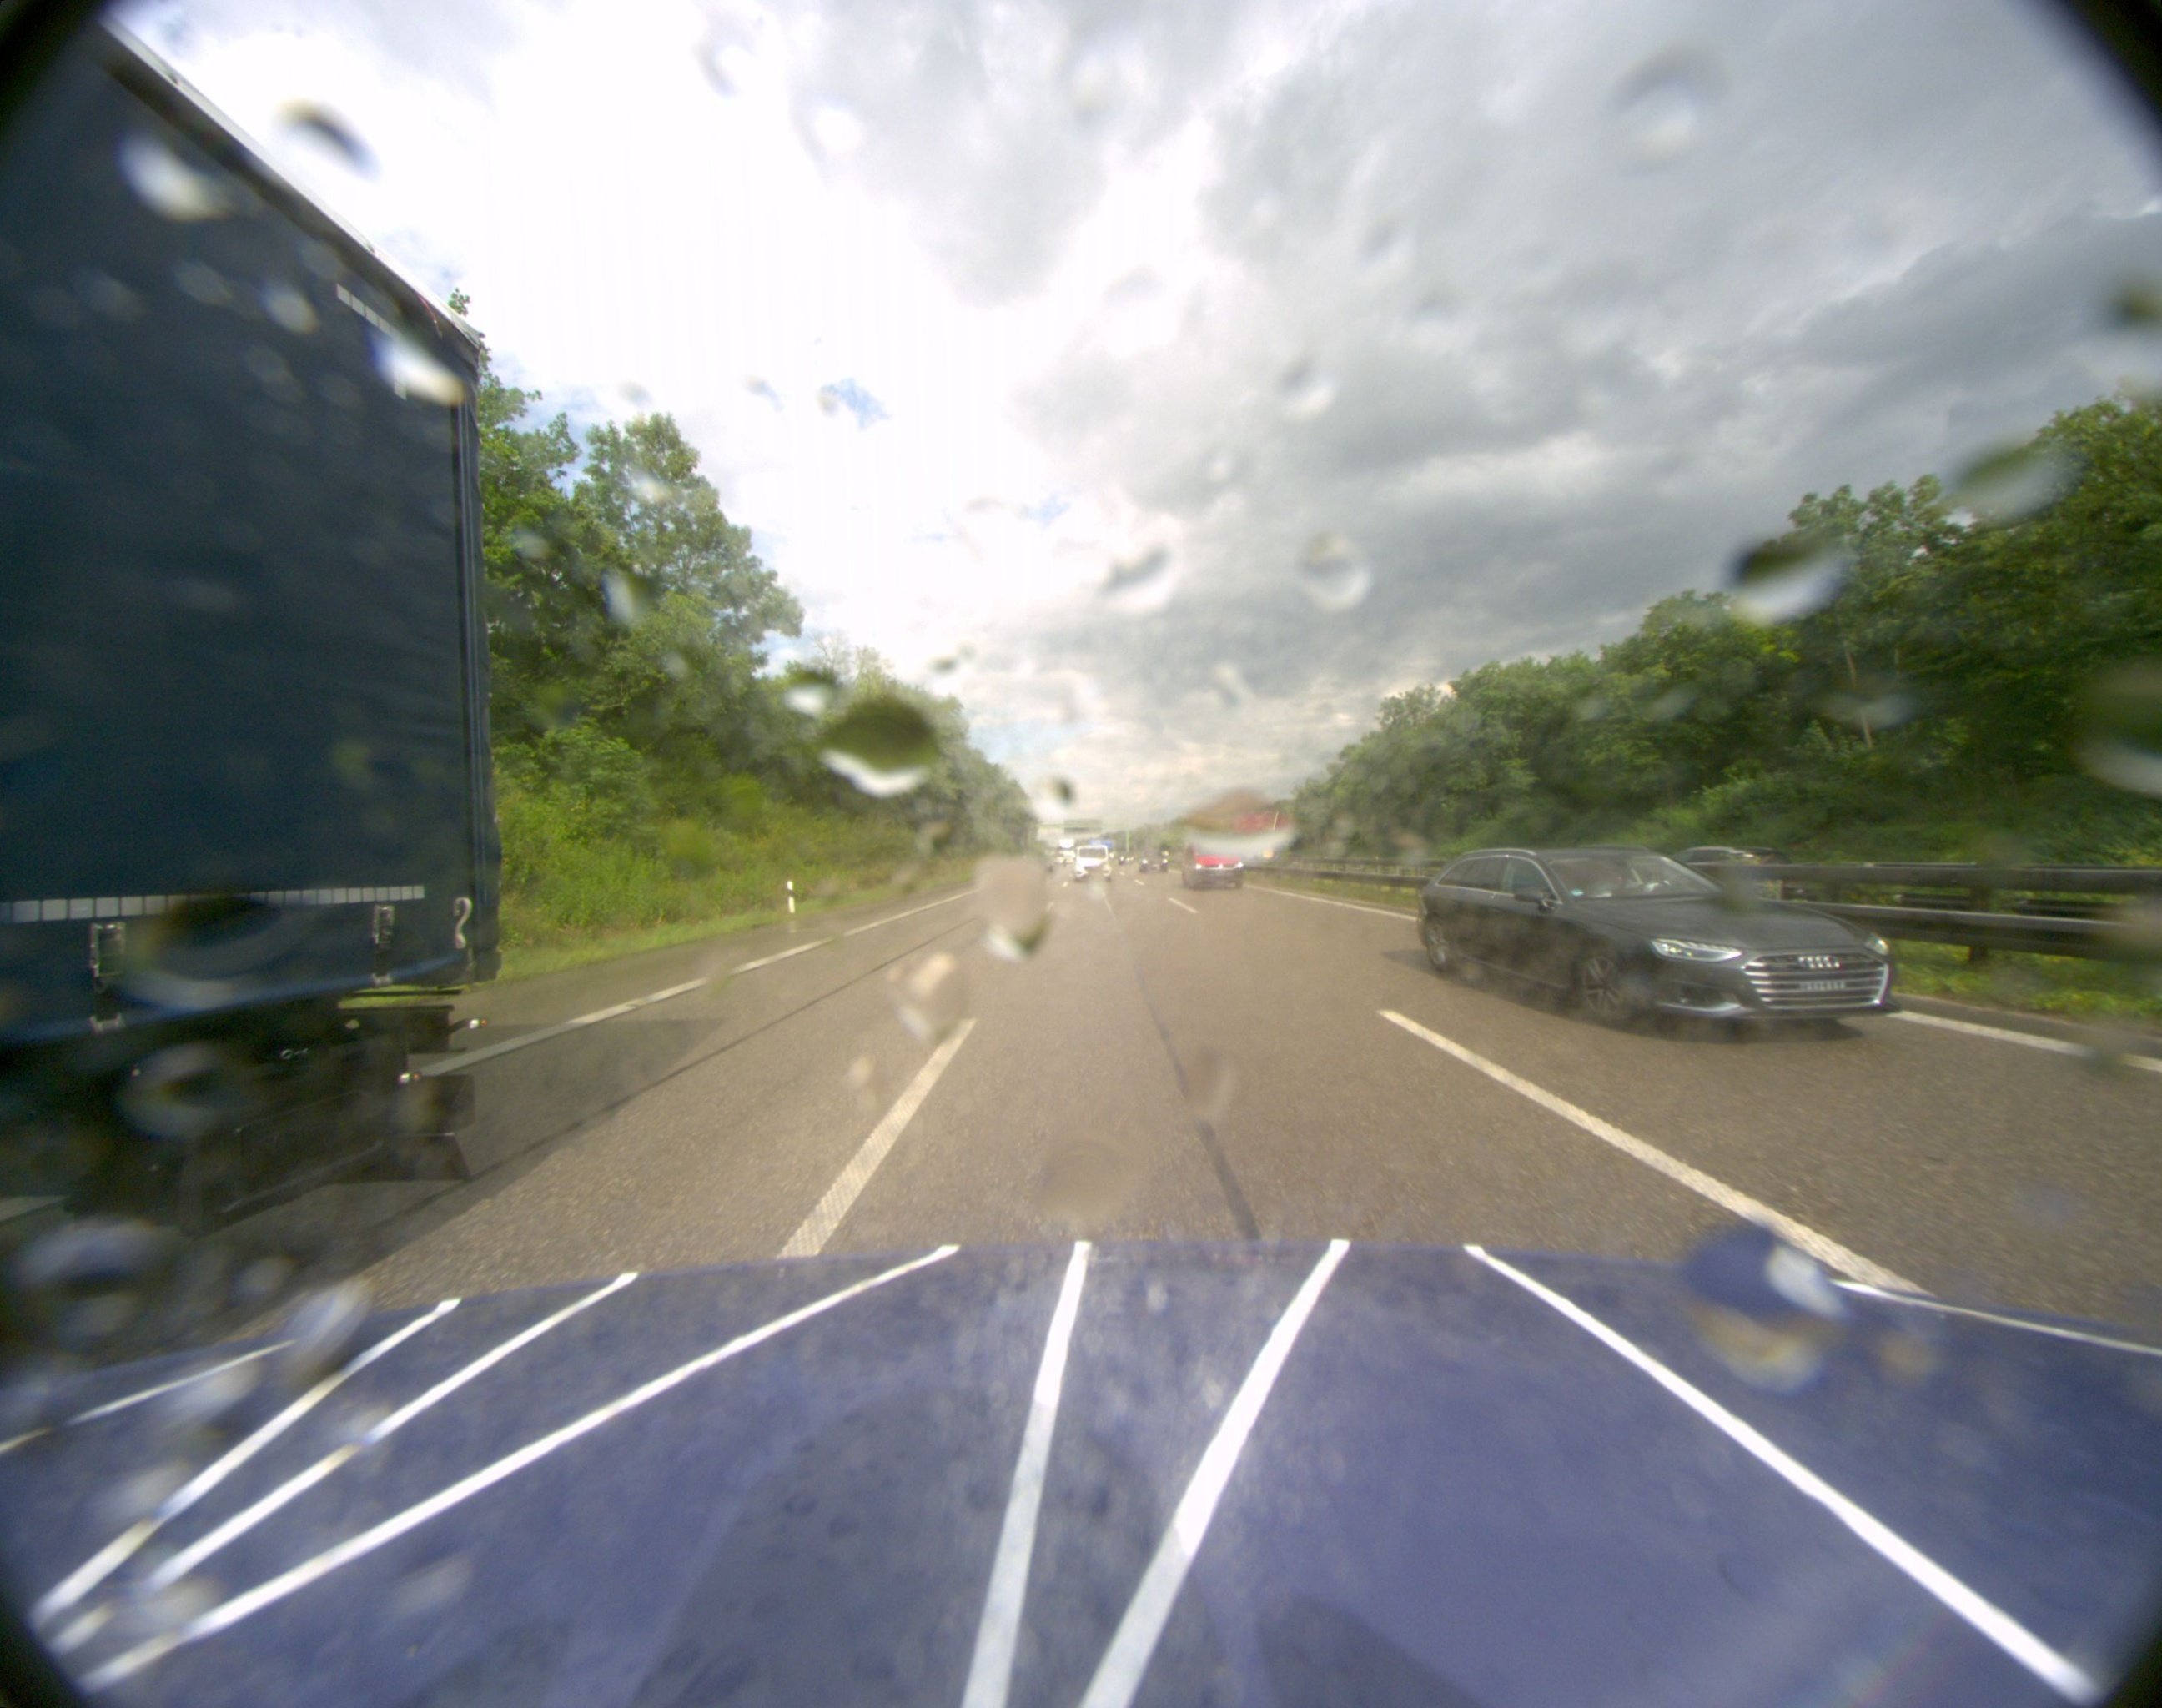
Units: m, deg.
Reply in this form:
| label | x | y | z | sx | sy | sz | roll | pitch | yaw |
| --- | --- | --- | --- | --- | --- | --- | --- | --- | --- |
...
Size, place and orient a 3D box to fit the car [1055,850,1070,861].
| label | x | y | z | sx | sy | sz | roll | pitch | yaw |
| --- | --- | --- | --- | --- | --- | --- | --- | --- | --- |
| car | -2.449 | 0.158 | 102.973 | 1.798 | 1.410 | 4.839 | -2 | 1 | 1 |

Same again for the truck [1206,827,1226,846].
| label | x | y | z | sx | sy | sz | roll | pitch | yaw |
| --- | --- | --- | --- | --- | --- | --- | --- | --- | --- |
| truck | 36.110 | -4.554 | 203.441 | 3.622 | 4.693 | 11.874 | -2 | 1 | 2 |

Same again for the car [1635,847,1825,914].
| label | x | y | z | sx | sy | sz | roll | pitch | yaw |
| --- | --- | --- | --- | --- | --- | --- | --- | --- | --- |
| car | 18.500 | 0.669 | 21.954 | 1.859 | 1.653 | 4.235 | -2 | 1 | 0 |

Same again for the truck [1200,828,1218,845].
| label | x | y | z | sx | sy | sz | roll | pitch | yaw |
| --- | --- | --- | --- | --- | --- | --- | --- | --- | --- |
| truck | 37.227 | -5.063 | 221.478 | 3.622 | 4.693 | 11.874 | -2 | 1 | 2 |

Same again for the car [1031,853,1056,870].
| label | x | y | z | sx | sy | sz | roll | pitch | yaw |
| --- | --- | --- | --- | --- | --- | --- | --- | --- | --- |
| car | -3.393 | 0.655 | 69.270 | 1.798 | 1.410 | 4.839 | -2 | 1 | 1 |

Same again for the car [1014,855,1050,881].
| label | x | y | z | sx | sy | sz | roll | pitch | yaw |
| --- | --- | --- | --- | --- | --- | --- | --- | --- | --- |
| car | -2.992 | 0.834 | 47.314 | 1.798 | 1.410 | 4.839 | -2 | 1 | 1 |

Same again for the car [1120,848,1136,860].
| label | x | y | z | sx | sy | sz | roll | pitch | yaw |
| --- | --- | --- | --- | --- | --- | --- | --- | --- | --- |
| car | 5.887 | -0.008 | 96.000 | 1.798 | 1.410 | 4.839 | -2 | 1 | 1 |

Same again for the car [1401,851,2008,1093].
| label | x | y | z | sx | sy | sz | roll | pitch | yaw |
| --- | --- | --- | --- | --- | --- | --- | --- | --- | --- |
| car | 4.891 | 0.729 | 7.140 | 1.798 | 1.410 | 4.839 | -2 | 1 | 1 |

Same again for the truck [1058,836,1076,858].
| label | x | y | z | sx | sy | sz | roll | pitch | yaw |
| --- | --- | --- | --- | --- | --- | --- | --- | --- | --- |
| truck | -2.441 | -1.181 | 135.613 | 3.064 | 3.827 | 8.799 | -1 | 0 | 0 |

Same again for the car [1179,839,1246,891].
| label | x | y | z | sx | sy | sz | roll | pitch | yaw |
| --- | --- | --- | --- | --- | --- | --- | --- | --- | --- |
| car | 5.224 | 0.374 | 30.707 | 1.926 | 1.855 | 4.839 | -2 | 1 | 1 |

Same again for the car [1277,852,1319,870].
| label | x | y | z | sx | sy | sz | roll | pitch | yaw |
| --- | --- | --- | --- | --- | --- | --- | --- | --- | --- |
| car | 15.153 | 0.494 | 53.256 | 1.830 | 1.121 | 4.000 | -2 | 1 | 1 |

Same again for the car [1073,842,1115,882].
| label | x | y | z | sx | sy | sz | roll | pitch | yaw |
| --- | --- | --- | --- | --- | --- | --- | --- | --- | --- |
| car | 0.756 | 0.381 | 42.270 | 2.124 | 1.988 | 5.982 | -2 | 1 | 1 |

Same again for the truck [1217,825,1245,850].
| label | x | y | z | sx | sy | sz | roll | pitch | yaw |
| --- | --- | --- | --- | --- | --- | --- | --- | --- | --- |
| truck | 30.403 | -3.358 | 154.800 | 3.622 | 4.693 | 11.874 | -2 | 1 | 2 |

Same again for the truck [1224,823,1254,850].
| label | x | y | z | sx | sy | sz | roll | pitch | yaw |
| --- | --- | --- | --- | --- | --- | --- | --- | --- | --- |
| truck | 29.373 | -3.150 | 141.637 | 3.622 | 4.693 | 9.802 | -2 | 1 | 2 |

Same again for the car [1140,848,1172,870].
| label | x | y | z | sx | sy | sz | roll | pitch | yaw |
| --- | --- | --- | --- | --- | --- | --- | --- | --- | --- |
| car | 5.605 | 0.372 | 57.615 | 2.009 | 1.488 | 4.839 | -2 | 1 | 1 |
